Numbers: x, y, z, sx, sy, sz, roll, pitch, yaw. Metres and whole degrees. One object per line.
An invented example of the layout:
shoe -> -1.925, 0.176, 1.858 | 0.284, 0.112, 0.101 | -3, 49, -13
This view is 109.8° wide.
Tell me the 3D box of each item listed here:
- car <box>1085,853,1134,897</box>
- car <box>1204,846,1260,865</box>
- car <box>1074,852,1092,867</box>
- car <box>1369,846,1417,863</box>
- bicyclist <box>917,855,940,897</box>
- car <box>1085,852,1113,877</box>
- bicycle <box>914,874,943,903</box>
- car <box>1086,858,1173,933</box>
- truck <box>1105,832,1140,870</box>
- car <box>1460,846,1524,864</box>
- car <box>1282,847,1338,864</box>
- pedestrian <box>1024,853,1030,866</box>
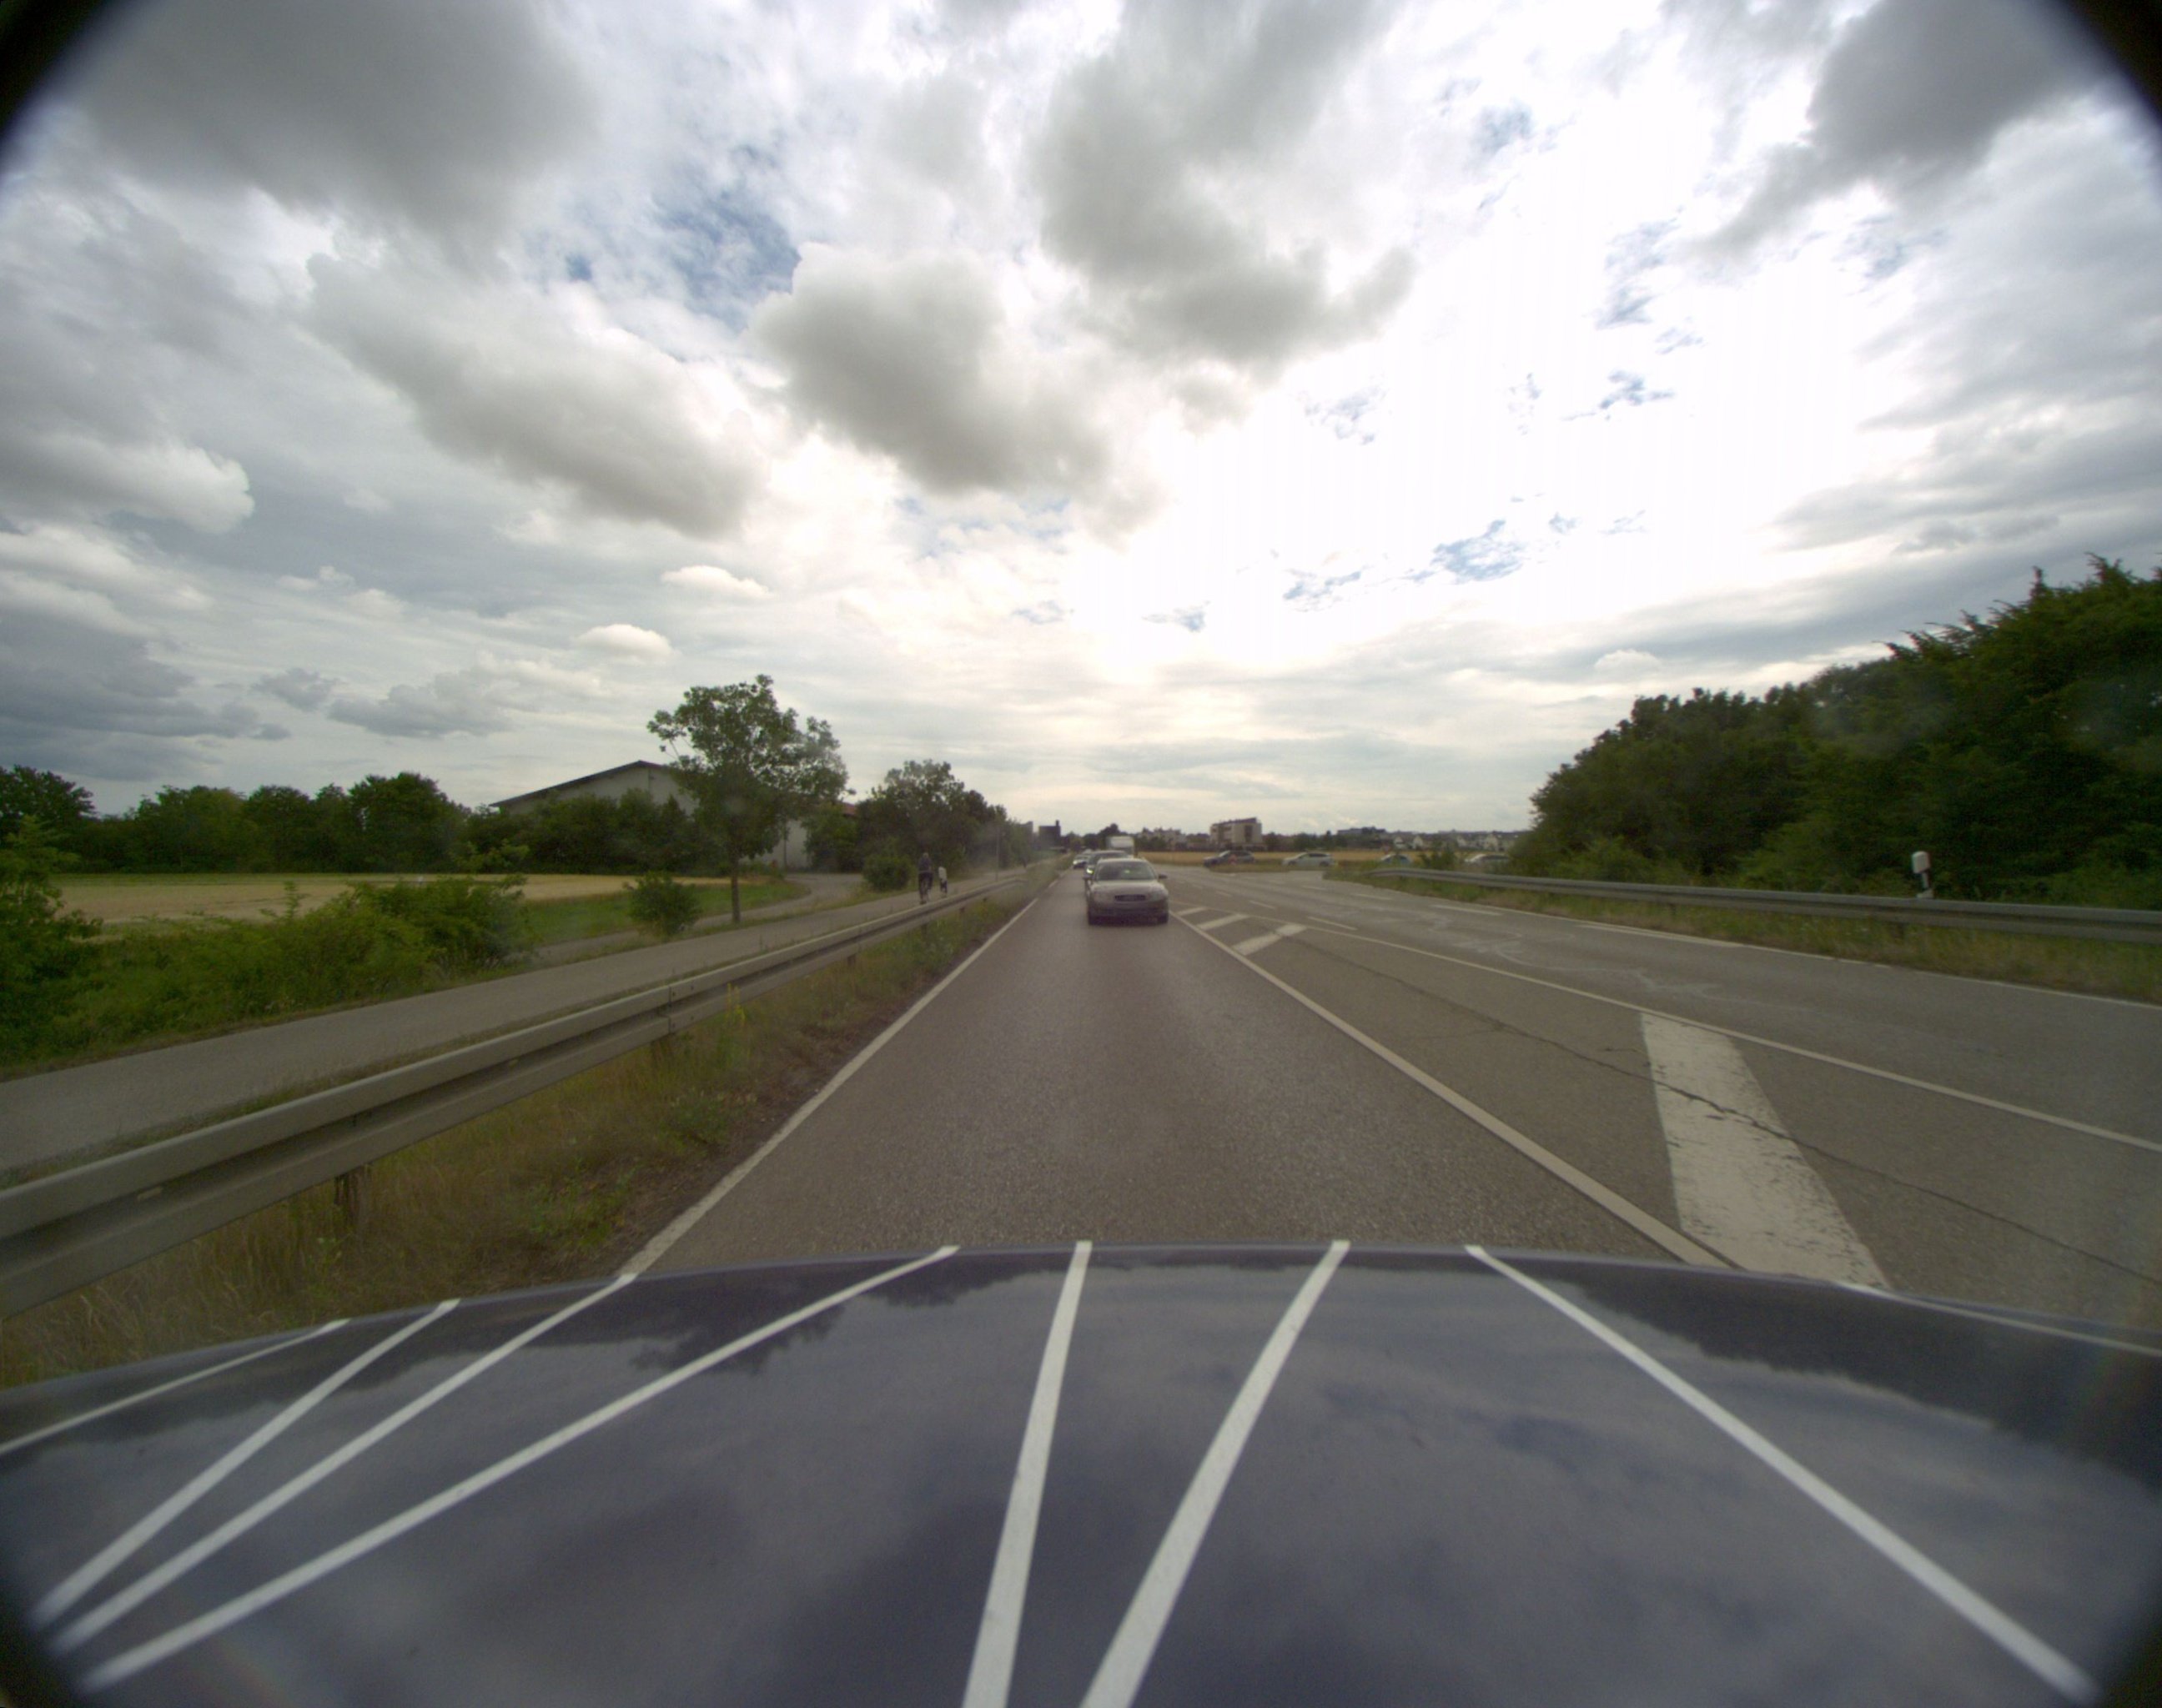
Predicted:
car -> 1.040, 0.749, 29.413 | 1.730, 1.534, 4.204 | -1, 0, 0
car -> 14.043, 0.142, 70.862 | 4.816, 1.680, 1.999 | -1, 1, -4
car -> 0.209, 0.538, 79.553 | 1.730, 1.436, 4.204 | -2, 0, 0
car -> 28.477, 0.048, 69.420 | 3.714, 1.490, 1.731 | -1, 1, 7
bicyclist -> -5.817, 0.829, 29.063 | 0.640, 1.573, 0.969 | -1, 1, 1
car -> 1.137, 0.657, 50.049 | 1.730, 1.478, 4.204 | -2, 0, 0
bicycle -> -5.815, 1.298, 29.090 | 0.640, 0.972, 2.072 | -1, 1, 1
car -> 0.997, 0.858, 17.549 | 1.730, 1.436, 4.204 | -1, 0, 0
truck -> 4.131, -0.341, 77.370 | 2.931, 3.541, 7.604 | -2, 1, -1
car -> 36.977, 0.082, 68.419 | 4.673, 1.490, 2.001 | -1, 1, 7
car -> 21.166, 0.154, 70.359 | 4.673, 1.490, 2.001 | -1, 1, 7
pedestrian -> -6.129, 0.631, 86.029 | 0.591, 1.512, 0.501 | -2, 1, 7
